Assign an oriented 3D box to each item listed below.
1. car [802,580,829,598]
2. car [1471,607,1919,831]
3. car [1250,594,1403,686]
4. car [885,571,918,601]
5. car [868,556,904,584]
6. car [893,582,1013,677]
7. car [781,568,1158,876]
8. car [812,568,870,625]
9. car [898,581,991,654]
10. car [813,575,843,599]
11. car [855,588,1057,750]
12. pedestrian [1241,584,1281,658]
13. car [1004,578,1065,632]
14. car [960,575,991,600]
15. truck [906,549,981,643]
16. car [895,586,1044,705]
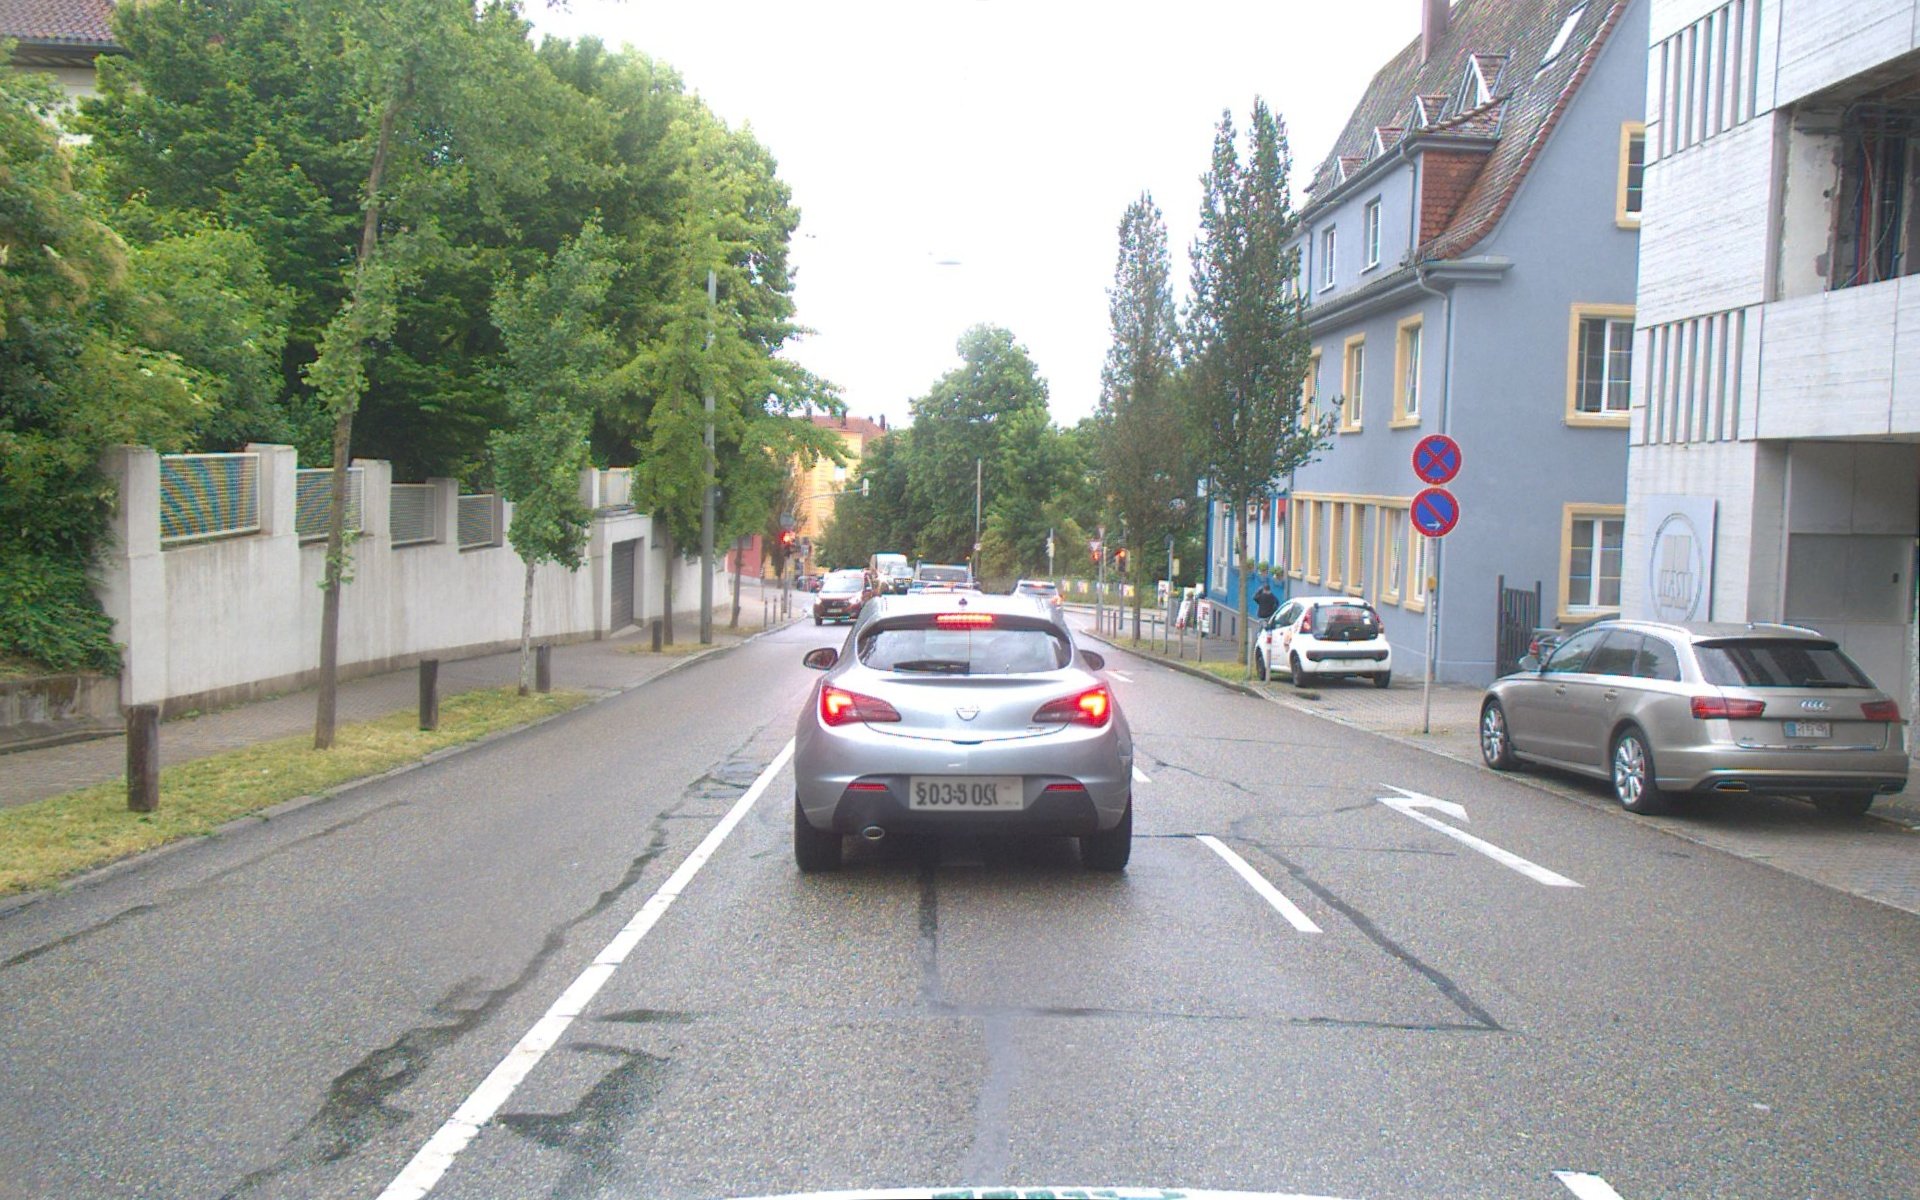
[{"bbox_3d":[-13.783,-1.022,157.898,1.696,1.666,3.859,0,0,-18],"label":"car"},{"bbox_3d":[6.052,0.850,13.895,1.923,1.473,4.524,1,1,-3],"label":"car"},{"bbox_3d":[6.286,0.638,28.779,1.688,1.473,3.878,0,0,-2],"label":"car"},{"bbox_3d":[-3.259,-0.787,92.556,1.833,1.666,3.878,0,0,-2],"label":"car"},{"bbox_3d":[-4.491,-1.794,100.173,1.691,1.666,3.871,0,0,-9],"label":"car"},{"bbox_3d":[-0.181,0.459,29.423,1.922,1.473,4.304,2,1,-2],"label":"car"},{"bbox_3d":[-0.034,0.580,9.955,1.800,1.459,3.878,1,0,-3],"label":"car"},{"bbox_3d":[-4.057,-0.123,56.861,1.711,1.860,4.458,-1,0,-1],"label":"car"},{"bbox_3d":[-0.399,0.345,37.081,1.922,1.473,4.304,2,1,-2],"label":"car"},{"bbox_3d":[-8.220,-0.795,103.378,1.688,1.485,3.878,0,0,-2],"label":"car"},{"bbox_3d":[-0.103,0.661,18.322,1.922,1.473,4.304,2,1,-2],"label":"car"},{"bbox_3d":[7.343,0.509,40.370,0.767,1.759,0.650,2,0,-1],"label":"pedestrian"},{"bbox_3d":[2.448,0.142,55.154,1.688,1.744,3.878,0,0,-3],"label":"car"},{"bbox_3d":[0.995,-0.823,108.913,1.689,1.666,3.876,0,0,-4],"label":"car"},{"bbox_3d":[-0.517,-0.141,47.078,1.922,2.471,4.934,2,1,-2],"label":"truck"},{"bbox_3d":[0.062,0.587,24.046,1.922,1.473,4.304,2,1,-2],"label":"car"}]
